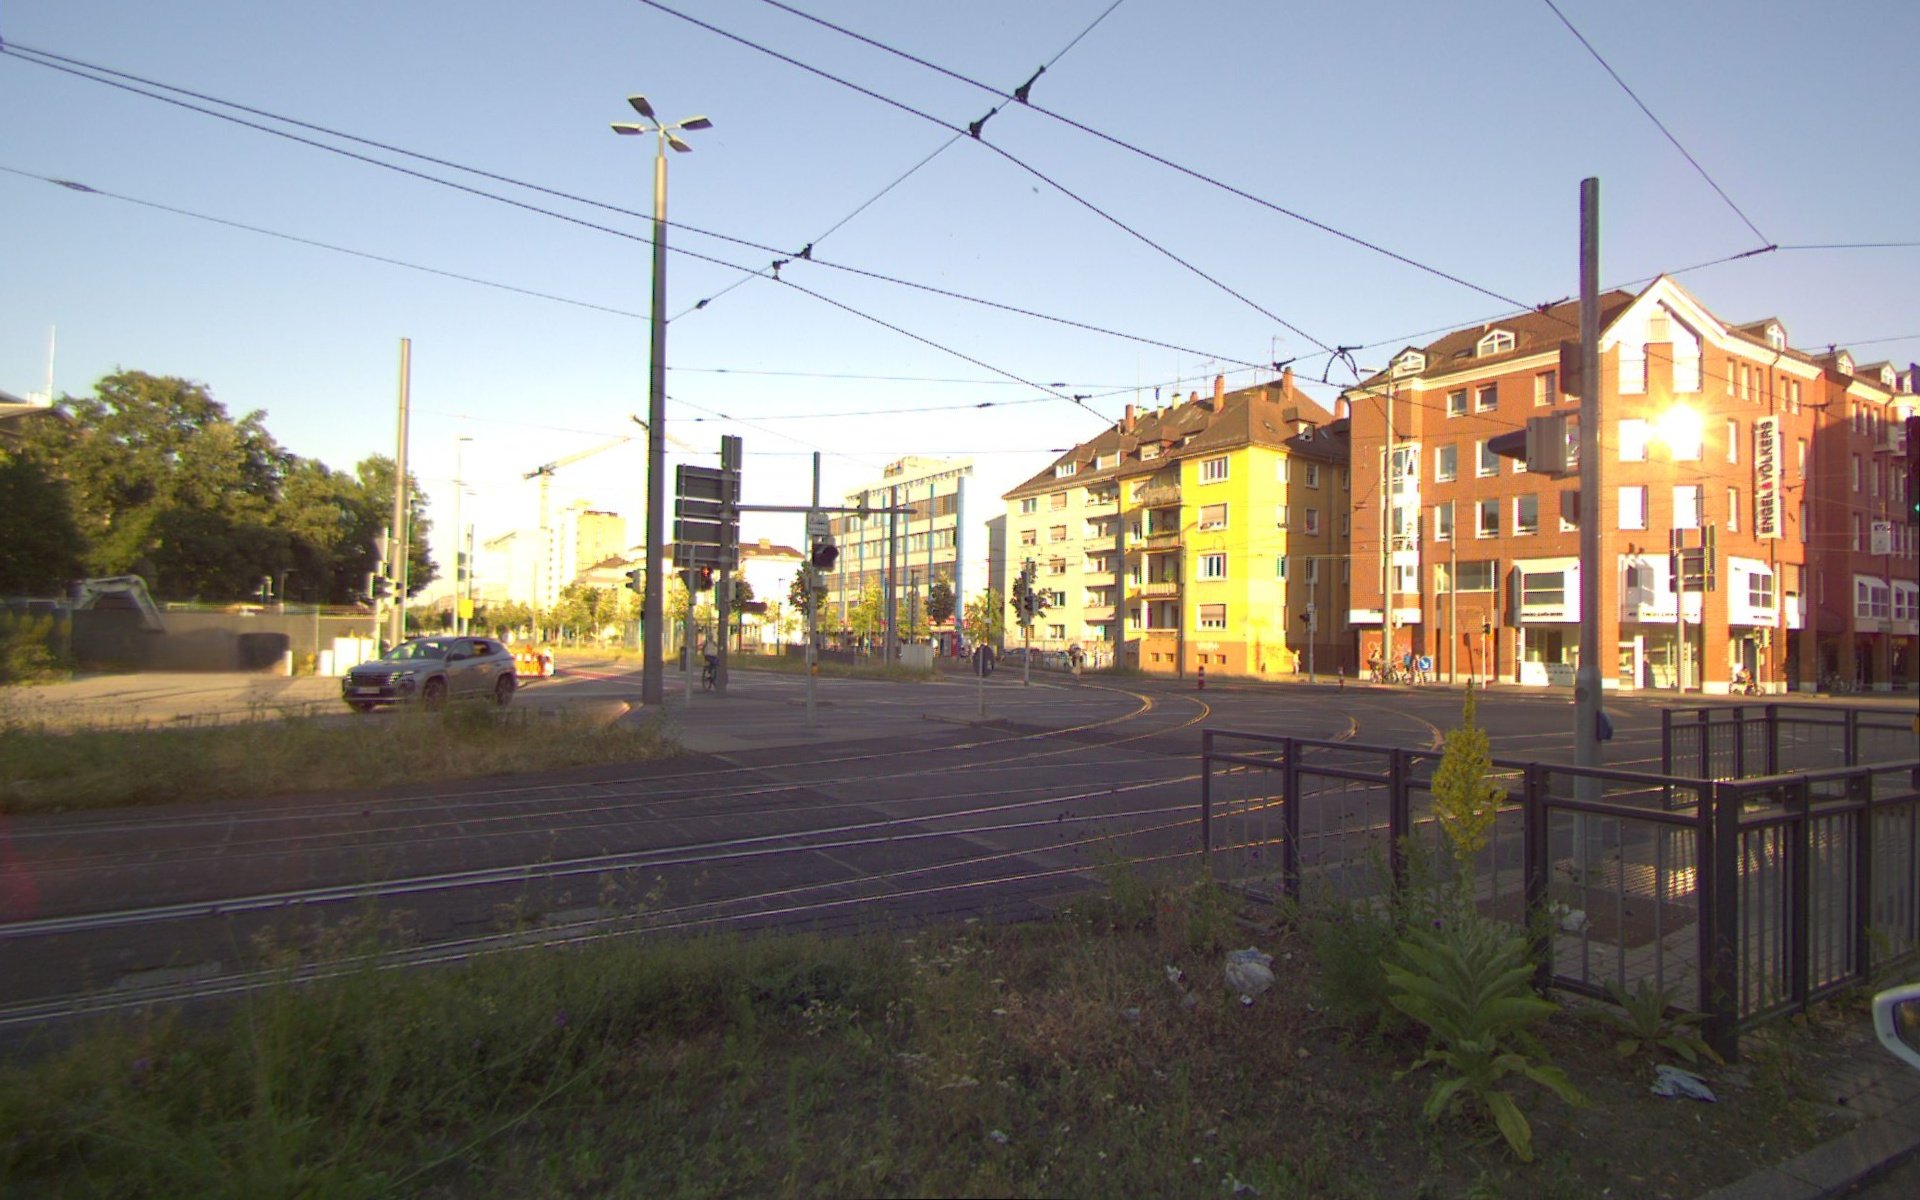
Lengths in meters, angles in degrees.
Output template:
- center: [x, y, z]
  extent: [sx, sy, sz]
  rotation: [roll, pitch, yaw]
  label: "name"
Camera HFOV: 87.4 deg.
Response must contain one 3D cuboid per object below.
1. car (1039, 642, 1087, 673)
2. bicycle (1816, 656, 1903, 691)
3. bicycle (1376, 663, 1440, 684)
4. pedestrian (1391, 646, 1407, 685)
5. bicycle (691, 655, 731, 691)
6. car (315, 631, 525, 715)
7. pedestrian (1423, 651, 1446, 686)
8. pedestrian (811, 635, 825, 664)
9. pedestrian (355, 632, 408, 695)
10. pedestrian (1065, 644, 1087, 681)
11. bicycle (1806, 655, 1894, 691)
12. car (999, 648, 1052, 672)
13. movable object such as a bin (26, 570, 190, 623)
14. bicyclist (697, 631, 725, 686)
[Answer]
- center: [7.998, 4.471, 78.222]
  extent: [1.721, 1.439, 3.510]
  rotation: [0, 13, -34]
  label: "car"
- center: [47.496, 3.852, 53.099]
  extent: [1.057, 1.748, 3.281]
  rotation: [2, -3, -30]
  label: "bicycle"
- center: [23.731, 3.876, 53.286]
  extent: [0.924, 1.030, 3.030]
  rotation: [3, -3, -39]
  label: "bicycle"
- center: [19.323, 2.880, 44.213]
  extent: [0.415, 1.730, 0.511]
  rotation: [2, -2, -32]
  label: "pedestrian"
- center: [-7.798, 2.269, 31.435]
  extent: [0.590, 1.036, 1.830]
  rotation: [3, -3, -34]
  label: "bicycle"
- center: [-12.109, 1.608, 22.929]
  extent: [1.910, 1.682, 4.540]
  rotation: [1, -3, 7]
  label: "car"
- center: [25.084, 3.634, 53.103]
  extent: [0.705, 1.817, 0.863]
  rotation: [3, -3, -41]
  label: "pedestrian"
- center: [-8.128, 2.825, 57.341]
  extent: [0.559, 1.611, 0.685]
  rotation: [2, -2, -30]
  label: "pedestrian"
- center: [-16.445, 1.800, 28.566]
  extent: [0.805, 1.758, 0.944]
  rotation: [0, -2, 15]
  label: "pedestrian"
- center: [4.924, 2.635, 42.675]
  extent: [0.696, 1.561, 0.635]
  rotation: [1, -2, -17]
  label: "pedestrian"
- center: [46.498, 3.781, 52.519]
  extent: [1.056, 1.748, 3.283]
  rotation: [2, -3, -29]
  label: "bicycle"
- center: [5.355, 4.934, 82.544]
  extent: [2.099, 1.727, 4.308]
  rotation: [5, -4, -35]
  label: "car"
- center: [-35.338, -0.116, 41.759]
  extent: [4.927, 2.040, 2.000]
  rotation: [1, -2, -3]
  label: "movable object such as a bin"
- center: [-7.801, 1.828, 31.478]
  extent: [0.590, 1.692, 0.741]
  rotation: [2, -3, -35]
  label: "bicyclist"
